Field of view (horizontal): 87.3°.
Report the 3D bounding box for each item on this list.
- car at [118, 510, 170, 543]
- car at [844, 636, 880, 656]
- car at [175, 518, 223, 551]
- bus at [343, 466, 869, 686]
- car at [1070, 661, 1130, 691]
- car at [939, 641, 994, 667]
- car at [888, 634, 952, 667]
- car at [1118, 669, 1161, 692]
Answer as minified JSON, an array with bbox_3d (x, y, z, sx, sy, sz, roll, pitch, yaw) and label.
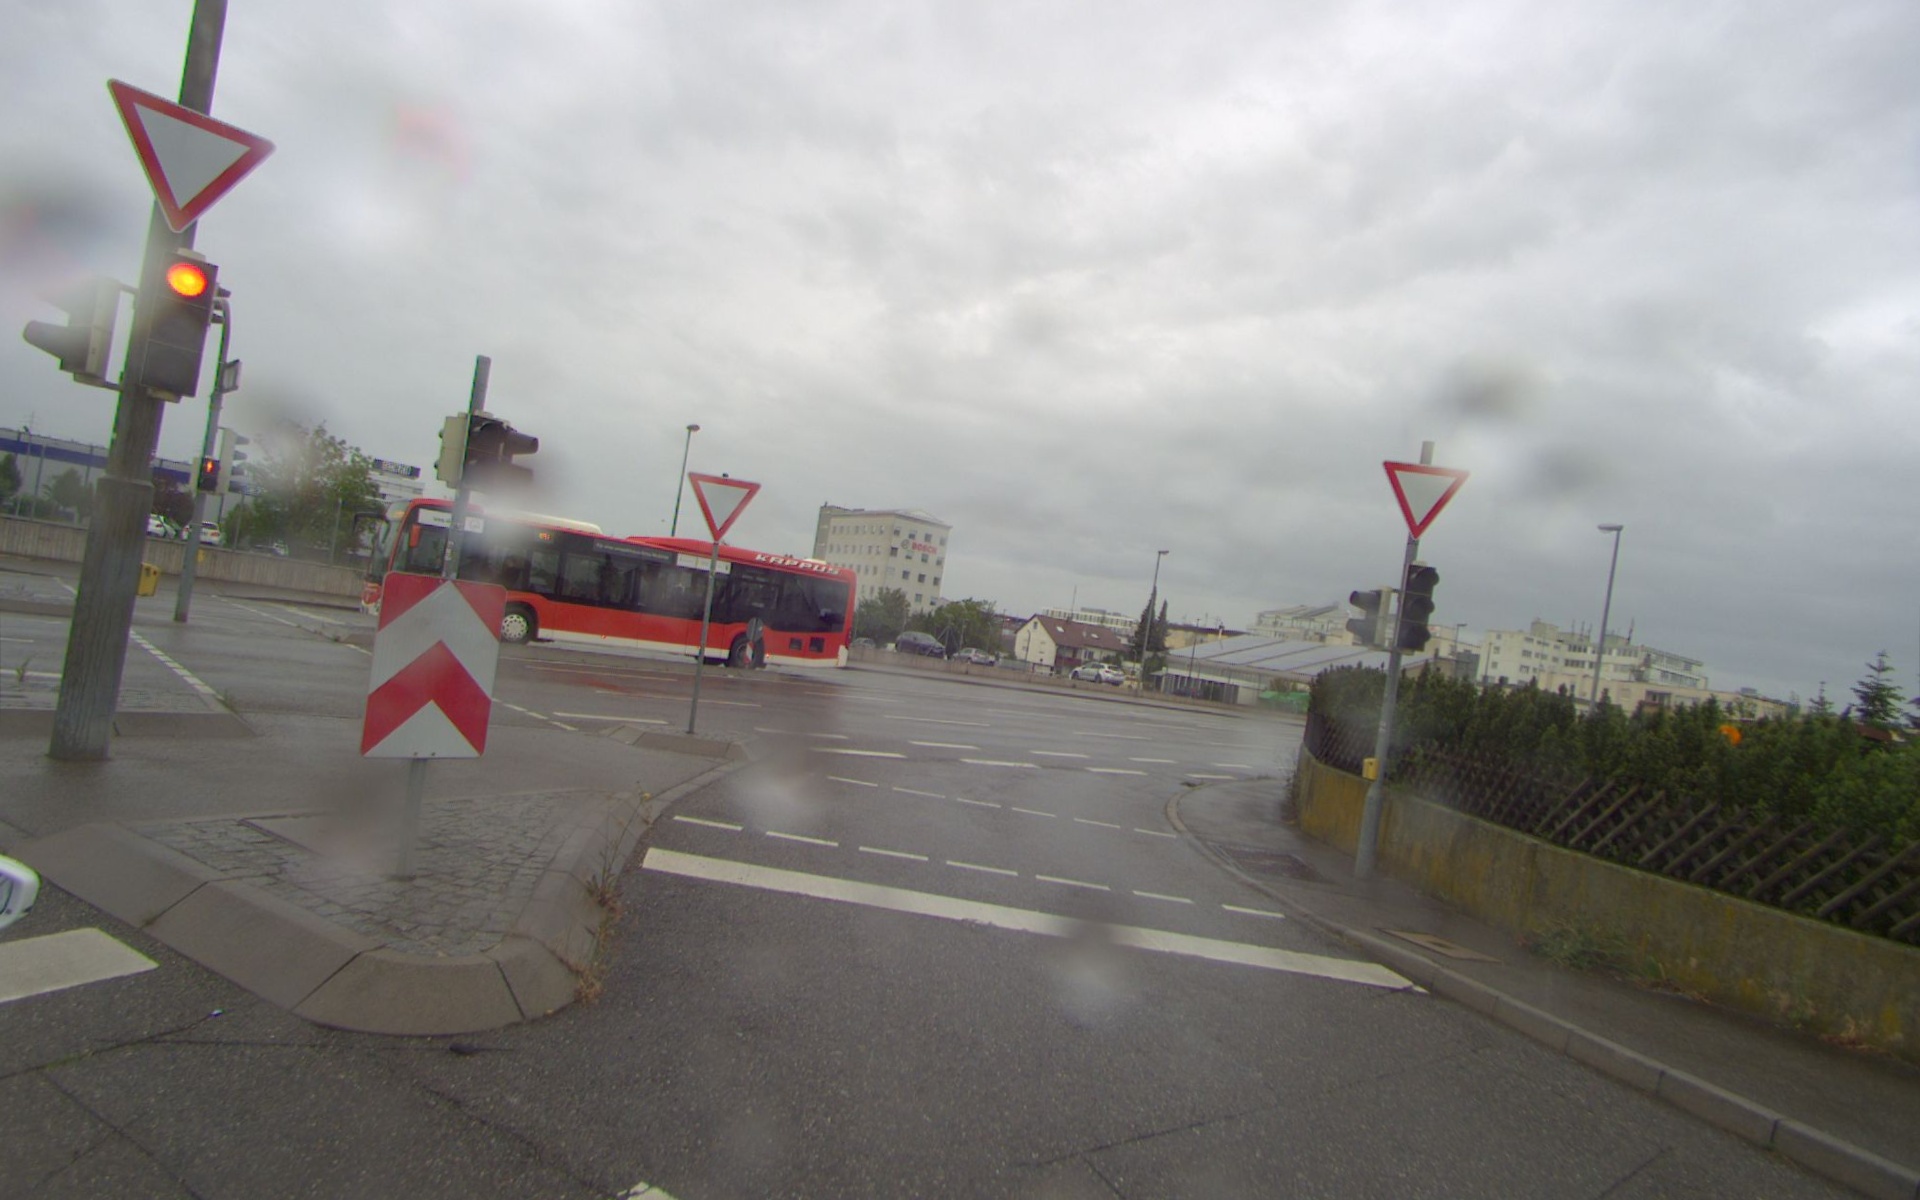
[{"bbox_3d":[-45.640,-4.107,56.353,1.985,1.495,3.959,10,-2,-38],"label":"car"},{"bbox_3d":[-9.838,4.579,100.629,1.979,1.494,3.971,9,-2,-29],"label":"car"},{"bbox_3d":[-43.921,-3.782,58.021,1.986,1.495,3.958,10,-2,-38],"label":"car"},{"bbox_3d":[-8.351,-0.264,25.869,12.244,3.357,3.040,12,-3,-41],"label":"bus"},{"bbox_3d":[9.713,5.262,70.055,1.979,1.494,3.971,9,-2,-29],"label":"car"},{"bbox_3d":[0.518,4.386,82.225,3.951,1.494,1.989,9,-2,-24],"label":"car"},{"bbox_3d":[-2.496,3.102,61.955,1.983,1.494,3.964,9,-2,-34],"label":"car"},{"bbox_3d":[17.828,8.006,99.954,3.760,1.771,1.887,9,-2,-29],"label":"car"}]
